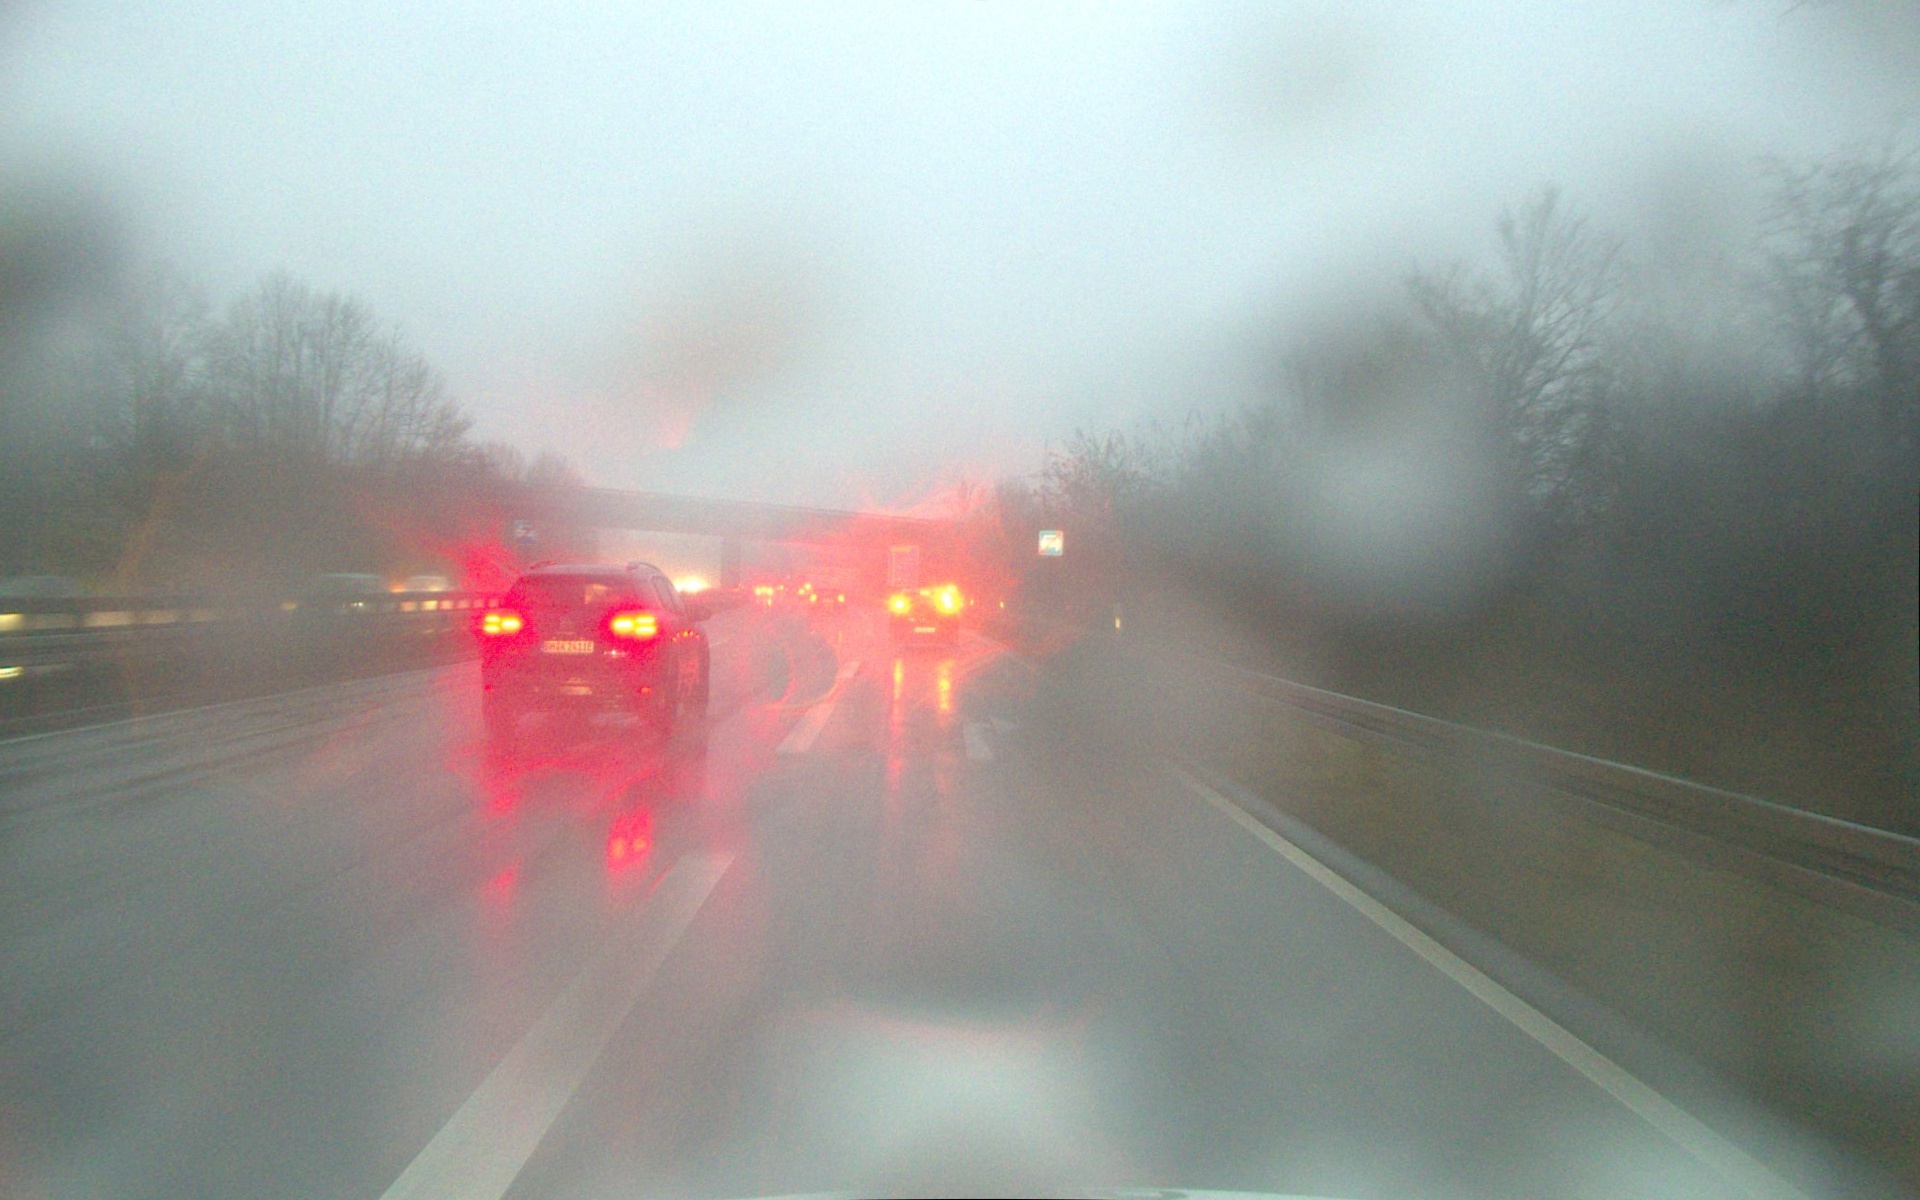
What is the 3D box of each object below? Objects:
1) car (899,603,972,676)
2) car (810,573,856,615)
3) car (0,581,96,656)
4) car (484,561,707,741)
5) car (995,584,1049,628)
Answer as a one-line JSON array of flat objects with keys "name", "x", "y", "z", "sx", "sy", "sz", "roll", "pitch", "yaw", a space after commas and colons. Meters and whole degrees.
[{"name": "car", "x": -0.589, "y": 0.931, "z": 40.772, "sx": 1.696, "sy": 1.453, "sz": 3.766, "roll": 1, "pitch": 3, "yaw": 0}, {"name": "car", "x": -5.538, "y": -0.286, "z": 72.457, "sx": 1.841, "sy": 1.645, "sz": 3.873, "roll": 2, "pitch": 2, "yaw": -3}, {"name": "car", "x": -22.039, "y": 0.424, "z": 38.559, "sx": 1.649, "sy": 1.664, "sz": 4.203, "roll": 0, "pitch": -1, "yaw": -1}, {"name": "car", "x": -3.766, "y": 0.472, "z": 17.742, "sx": 1.956, "sy": 1.694, "sz": 3.994, "roll": 1, "pitch": 0, "yaw": -7}, {"name": "car", "x": 2.112, "y": 0.219, "z": 57.032, "sx": 1.649, "sy": 1.443, "sz": 3.873, "roll": 0, "pitch": -1, "yaw": -1}]
